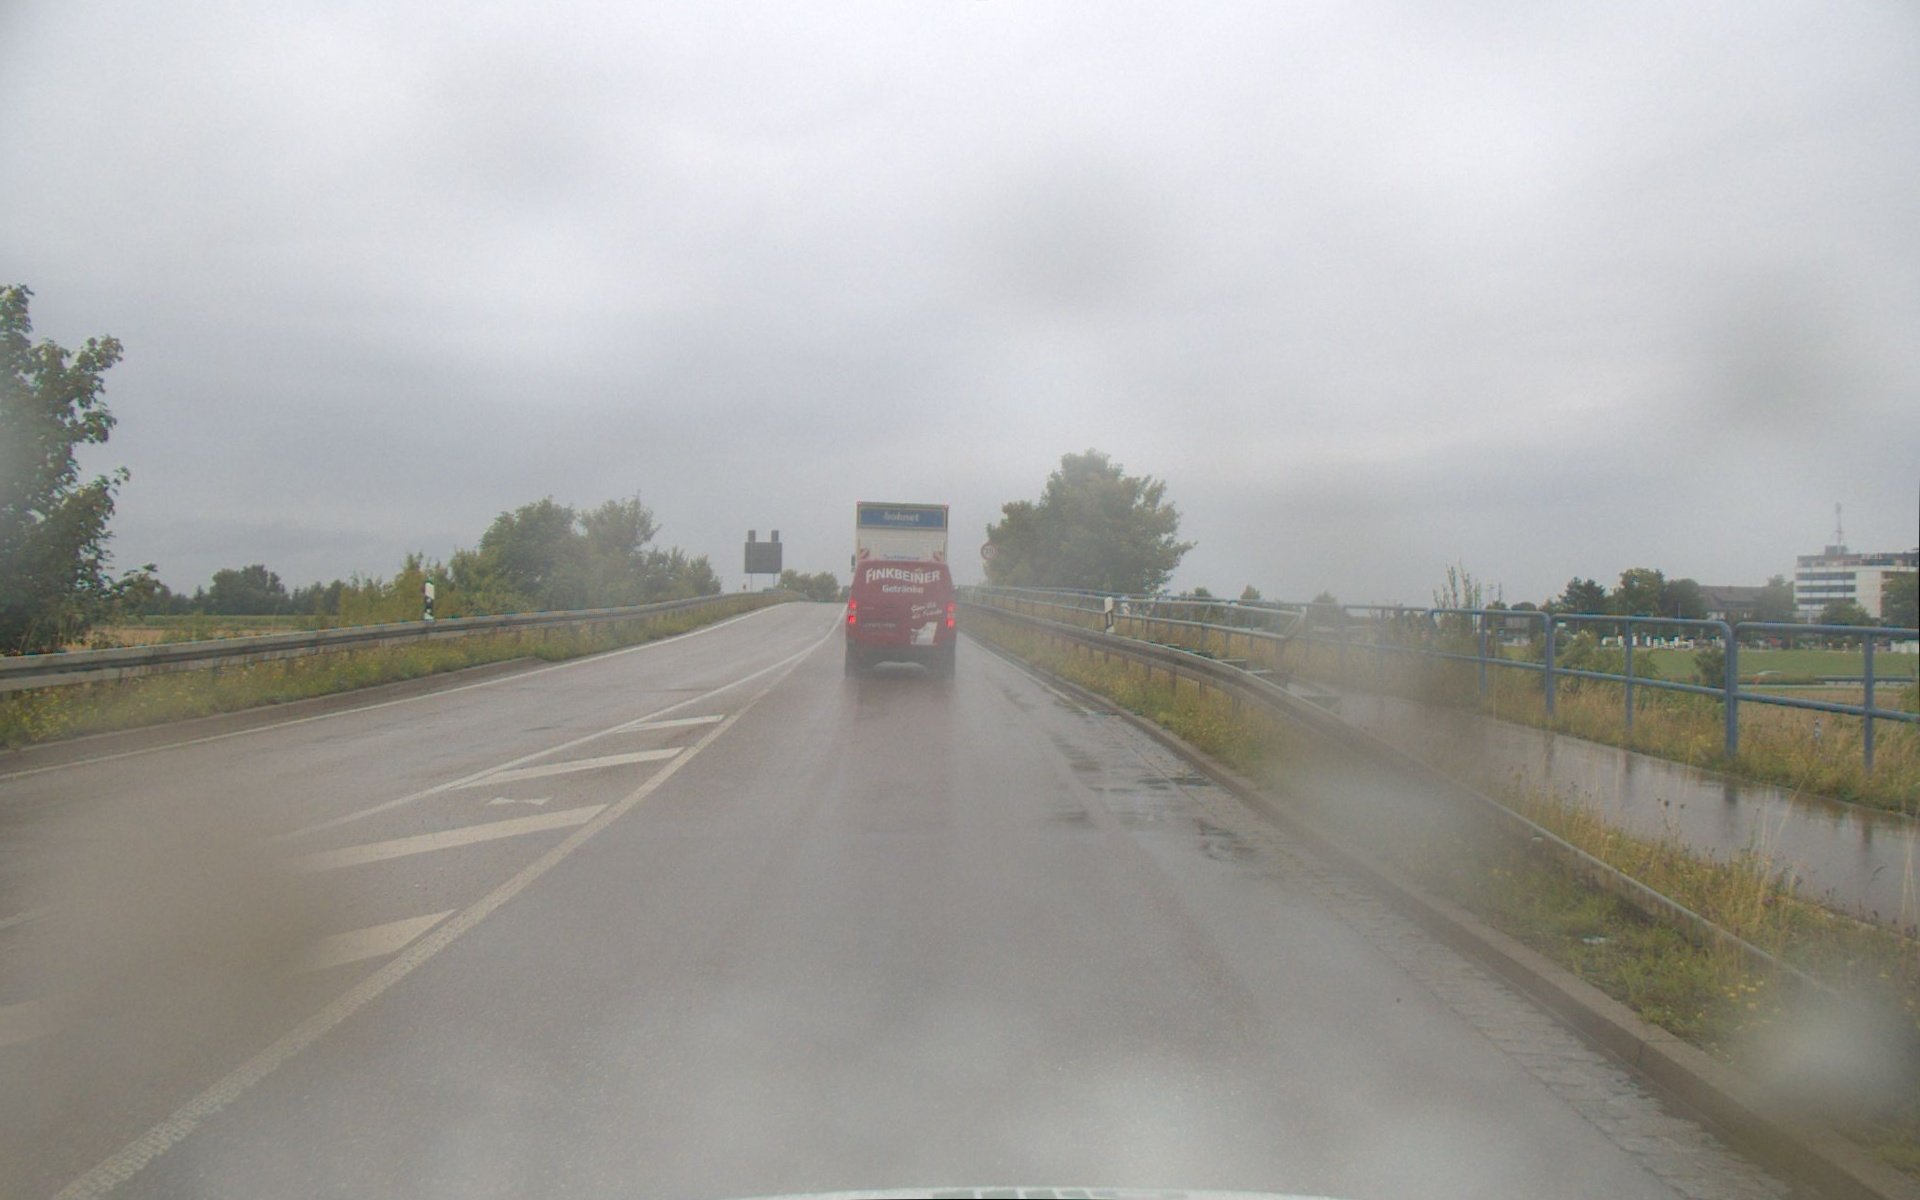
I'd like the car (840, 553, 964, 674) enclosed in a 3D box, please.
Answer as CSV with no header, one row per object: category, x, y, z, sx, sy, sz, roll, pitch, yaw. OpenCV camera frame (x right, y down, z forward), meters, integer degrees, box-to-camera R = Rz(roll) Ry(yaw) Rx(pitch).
car,-1.011,0.198,28.659,1.953,1.903,4.976,0,0,-2

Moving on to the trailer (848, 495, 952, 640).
trailer,-1.750,-0.857,49.365,2.775,3.886,9.711,0,0,-2
